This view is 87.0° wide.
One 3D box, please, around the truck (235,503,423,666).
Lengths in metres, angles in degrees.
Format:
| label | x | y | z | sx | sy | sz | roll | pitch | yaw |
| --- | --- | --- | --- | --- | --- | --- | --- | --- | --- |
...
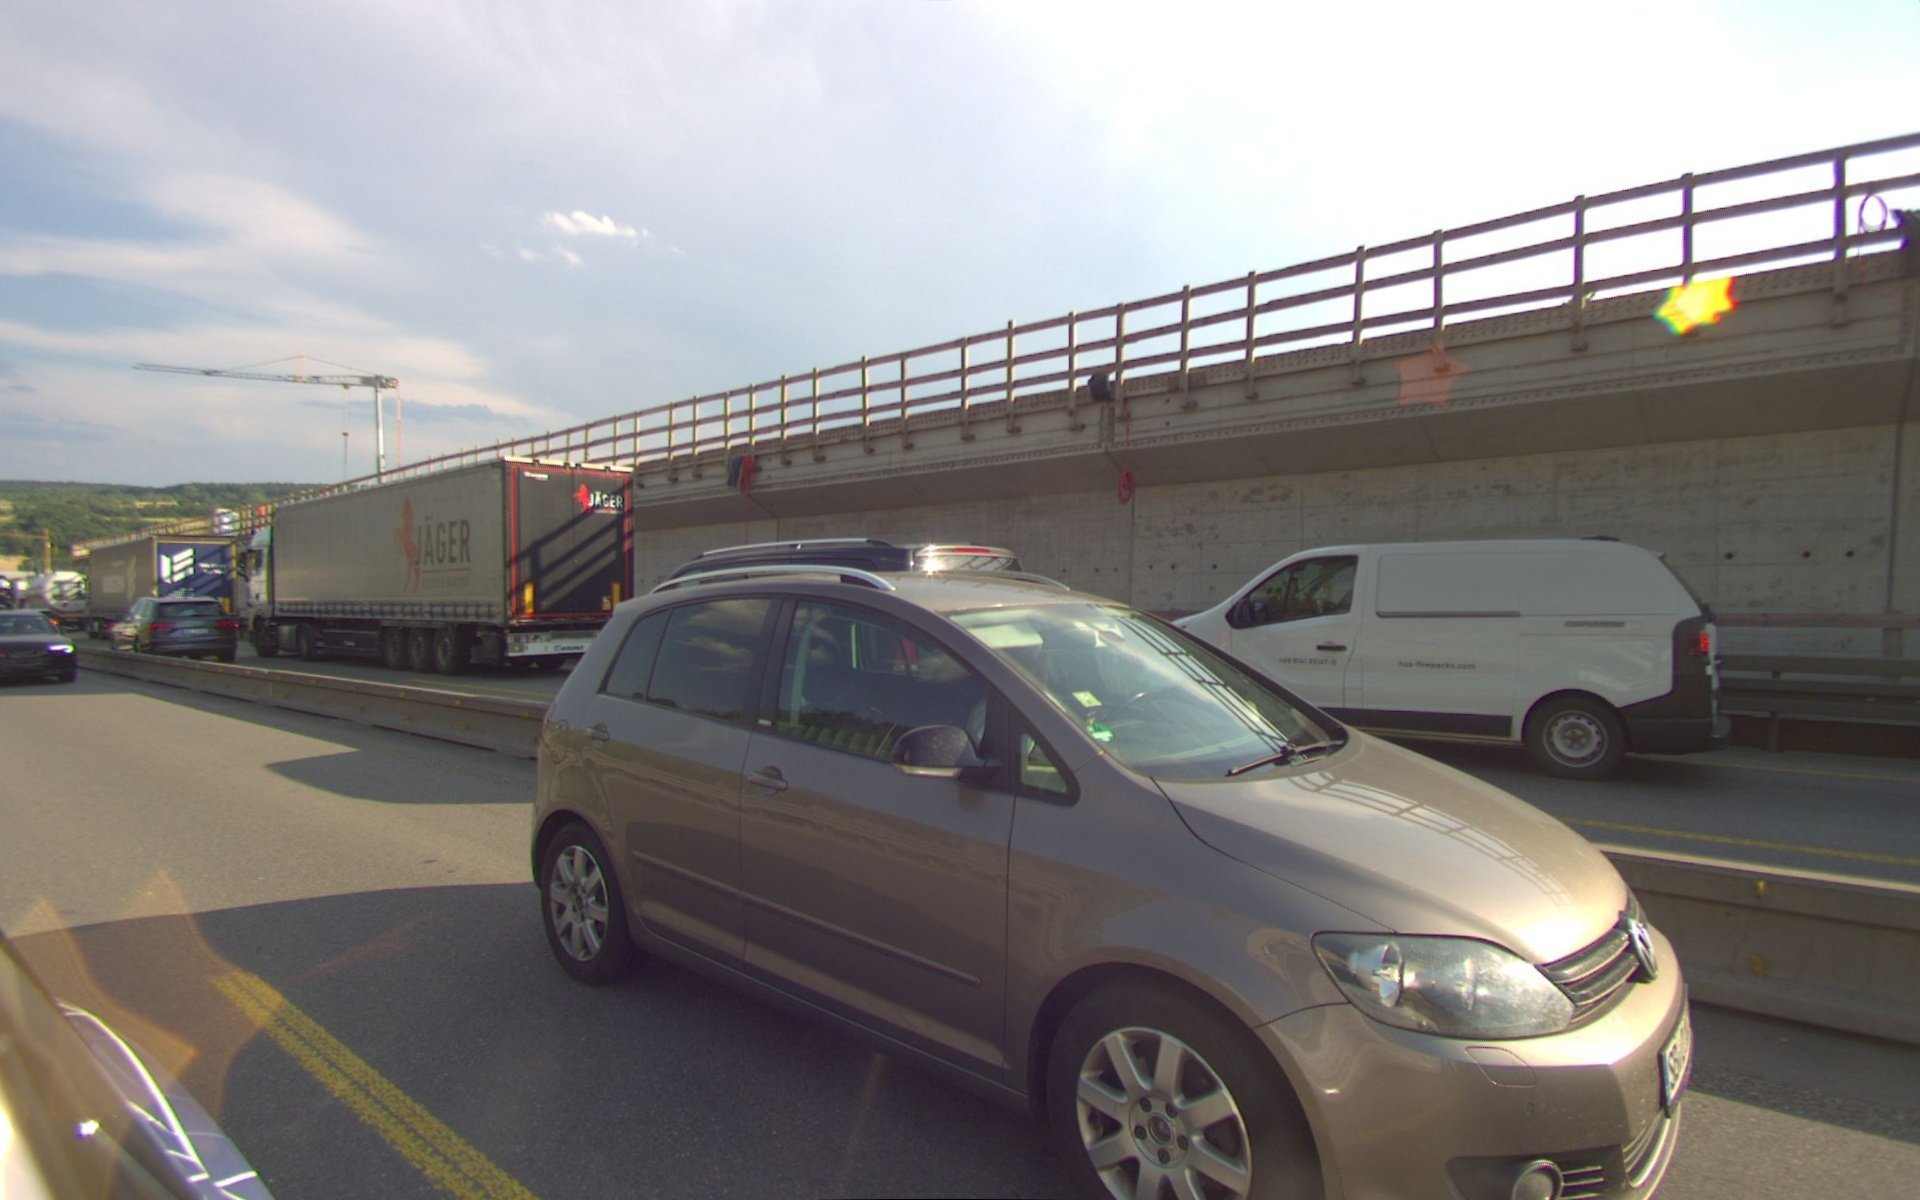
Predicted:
| label | x | y | z | sx | sy | sz | roll | pitch | yaw |
| --- | --- | --- | --- | --- | --- | --- | --- | --- | --- |
| truck | -17.476 | -0.415 | 27.934 | 5.655 | 4.038 | 2.831 | 0 | 1 | 41 |

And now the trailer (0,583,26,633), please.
| label | x | y | z | sx | sy | sz | roll | pitch | yaw |
| --- | --- | --- | --- | --- | --- | --- | --- | --- | --- |
| trailer | -83.773 | 0.665 | 87.591 | 15.759 | 4.061 | 2.742 | 0 | 1 | 42 |

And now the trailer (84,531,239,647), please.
| label | x | y | z | sx | sy | sz | roll | pitch | yaw |
| --- | --- | --- | --- | --- | --- | --- | --- | --- | --- |
| trailer | -33.577 | -0.295 | 42.206 | 14.021 | 4.172 | 2.735 | -1 | 0 | 42 |

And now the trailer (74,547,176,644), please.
| label | x | y | z | sx | sy | sz | roll | pitch | yaw |
| --- | --- | --- | --- | --- | --- | --- | --- | --- | --- |
| trailer | -38.562 | -0.162 | 46.686 | 5.975 | 4.172 | 2.735 | -2 | 0 | 42 |

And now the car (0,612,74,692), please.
| label | x | y | z | sx | sy | sz | roll | pitch | yaw |
| --- | --- | --- | --- | --- | --- | --- | --- | --- | --- |
| car | -19.344 | 0.986 | 20.286 | 4.347 | 1.430 | 1.849 | 0 | 0 | 41 |

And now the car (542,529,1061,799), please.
| label | x | y | z | sx | sy | sz | roll | pitch | yaw |
| --- | --- | --- | --- | --- | --- | --- | --- | --- | --- |
| car | -1.775 | 0.459 | 9.746 | 5.288 | 1.937 | 1.965 | -1 | 1 | 41 |

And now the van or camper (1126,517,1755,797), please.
| label | x | y | z | sx | sy | sz | roll | pitch | yaw |
| --- | --- | --- | --- | --- | --- | --- | --- | --- | --- |
| van or camper | 4.173 | 0.405 | 9.317 | 4.918 | 1.937 | 1.898 | -1 | 0 | 39 |

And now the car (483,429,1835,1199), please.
| label | x | y | z | sx | sy | sz | roll | pitch | yaw |
| --- | --- | --- | --- | --- | --- | --- | --- | --- | --- |
| car | 0.153 | 0.631 | 3.470 | 4.270 | 1.600 | 1.663 | -2 | -3 | 41 |

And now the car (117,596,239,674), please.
| label | x | y | z | sx | sy | sz | roll | pitch | yaw |
| --- | --- | --- | --- | --- | --- | --- | --- | --- | --- |
| car | -20.273 | 0.818 | 26.159 | 5.142 | 1.785 | 1.801 | 0 | 1 | 45 |

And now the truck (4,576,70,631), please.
| label | x | y | z | sx | sy | sz | roll | pitch | yaw |
| --- | --- | --- | --- | --- | --- | --- | --- | --- | --- |
| truck | -59.656 | 0.198 | 65.365 | 5.529 | 3.435 | 2.522 | 0 | 1 | 41 |

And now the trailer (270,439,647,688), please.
| label | x | y | z | sx | sy | sz | roll | pitch | yaw |
| --- | --- | --- | --- | --- | --- | --- | --- | --- | --- |
| trailer | -12.112 | -0.671 | 23.102 | 13.767 | 4.271 | 2.882 | 0 | 1 | 42 |

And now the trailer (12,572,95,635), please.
| label | x | y | z | sx | sy | sz | roll | pitch | yaw |
| --- | --- | --- | --- | --- | --- | --- | --- | --- | --- |
| trailer | -54.864 | 0.150 | 61.139 | 10.678 | 3.553 | 2.530 | 0 | 1 | 42 |

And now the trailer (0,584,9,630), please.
| label | x | y | z | sx | sy | sz | roll | pitch | yaw |
| --- | --- | --- | --- | --- | --- | --- | --- | --- | --- |
| trailer | -89.312 | 0.644 | 92.594 | 7.206 | 4.061 | 2.742 | 0 | 1 | 42 |

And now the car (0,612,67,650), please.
| label | x | y | z | sx | sy | sz | roll | pitch | yaw |
| --- | --- | --- | --- | --- | --- | --- | --- | --- | --- |
| car | -39.784 | 1.298 | 43.406 | 4.594 | 1.470 | 1.624 | 0 | 1 | 41 |
